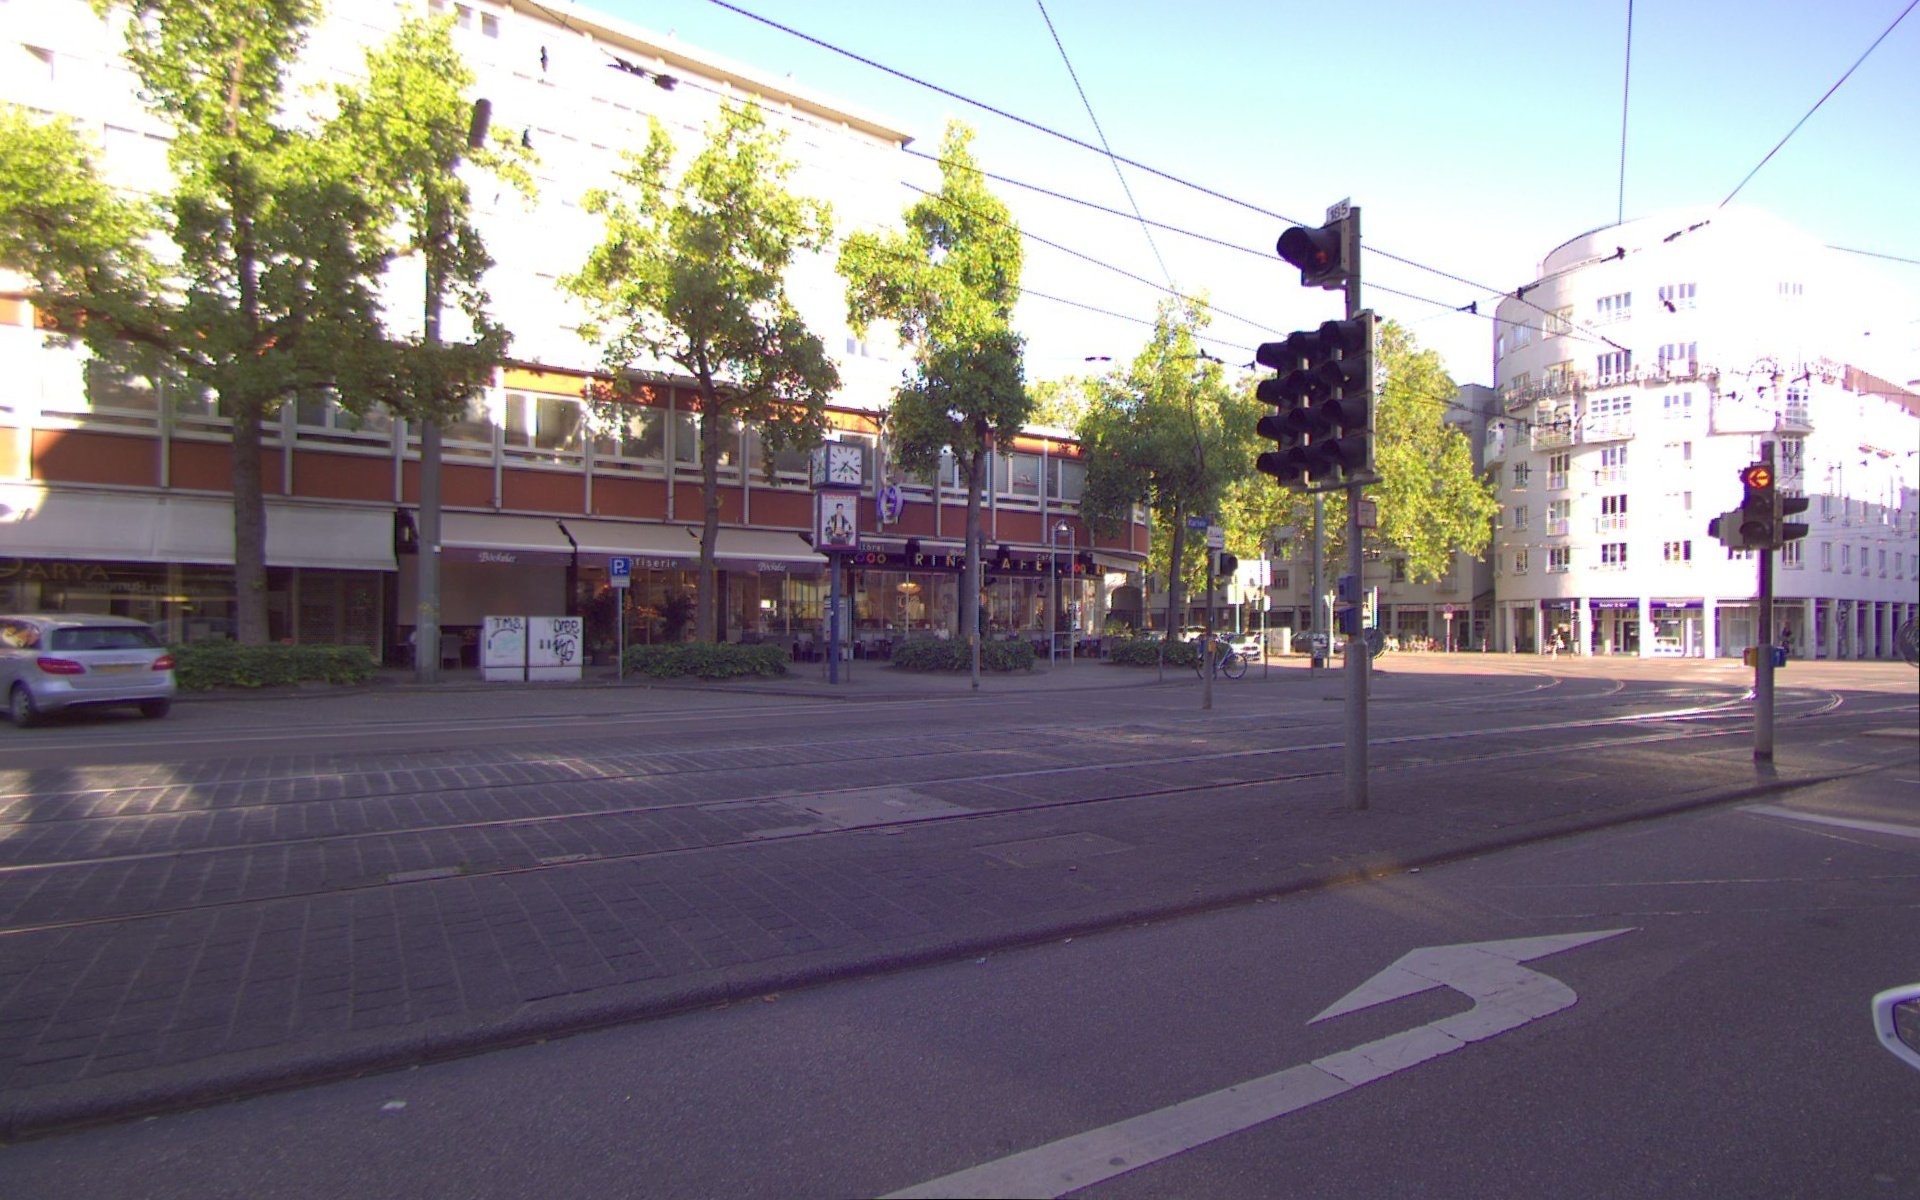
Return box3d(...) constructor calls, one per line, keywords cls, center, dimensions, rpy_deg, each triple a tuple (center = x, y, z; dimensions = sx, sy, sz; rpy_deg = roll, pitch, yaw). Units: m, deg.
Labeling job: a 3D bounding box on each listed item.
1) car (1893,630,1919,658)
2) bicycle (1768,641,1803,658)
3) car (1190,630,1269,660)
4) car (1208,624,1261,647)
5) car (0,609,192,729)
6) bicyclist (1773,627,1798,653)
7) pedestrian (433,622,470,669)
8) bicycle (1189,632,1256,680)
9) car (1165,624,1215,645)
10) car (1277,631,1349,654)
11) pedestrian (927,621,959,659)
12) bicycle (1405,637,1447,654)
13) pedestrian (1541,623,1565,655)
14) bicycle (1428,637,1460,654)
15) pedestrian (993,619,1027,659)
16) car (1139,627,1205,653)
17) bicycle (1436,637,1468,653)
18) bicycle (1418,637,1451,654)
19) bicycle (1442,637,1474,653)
box3d(cls="car", center=(58.032, 2.657, 60.309), dimensions=(4.463, 1.641, 1.982), rpy_deg=(1, -2, -34))
box3d(cls="bicycle", center=(48.374, 2.888, 58.869), dimensions=(2.238, 0.939, 0.837), rpy_deg=(1, -1, -30))
box3d(cls="car", center=(13.566, 2.279, 50.871), dimensions=(1.860, 1.439, 4.442), rpy_deg=(1, -2, -16))
box3d(cls="car", center=(20.691, 2.678, 75.605), dimensions=(3.960, 1.738, 1.783), rpy_deg=(2, -2, -35))
box3d(cls="car", center=(-13.895, 0.967, 15.398), dimensions=(3.925, 1.574, 1.796), rpy_deg=(1, -1, 26))
box3d(cls="bicyclist", center=(48.390, 2.356, 58.882), dimensions=(0.886, 1.486, 0.837), rpy_deg=(1, -1, -29))
box3d(cls="pedestrian", center=(-13.161, 1.168, 25.997), dimensions=(0.721, 1.187, 0.771), rpy_deg=(1, -2, -36))
box3d(cls="bicycle", center=(7.127, 1.504, 27.277), dimensions=(1.833, 1.251, 0.578), rpy_deg=(1, 0, -28))
box3d(cls="car", center=(19.076, 2.878, 83.260), dimensions=(3.960, 1.738, 1.783), rpy_deg=(2, -2, -35))
box3d(cls="car", center=(23.512, 2.821, 67.028), dimensions=(1.868, 1.440, 4.423), rpy_deg=(1, -2, -28))
box3d(cls="pedestrian", center=(-0.593, 1.354, 34.458), dimensions=(0.893, 1.280, 0.837), rpy_deg=(1, -1, -17))
box3d(cls="bicycle", center=(31.863, 3.126, 68.681), dimensions=(2.410, 1.122, 0.932), rpy_deg=(-1, -2, 44))
box3d(cls="pedestrian", center=(32.236, 2.107, 54.628), dimensions=(0.687, 1.704, 0.866), rpy_deg=(-1, -1, -24))
box3d(cls="bicycle", center=(33.875, 3.180, 70.382), dimensions=(0.808, 1.122, 1.934), rpy_deg=(1, -1, -28))
box3d(cls="pedestrian", center=(1.817, 1.406, 36.324), dimensions=(0.880, 1.414, 0.929), rpy_deg=(1, -2, -31))
box3d(cls="car", center=(12.161, 2.295, 57.840), dimensions=(1.860, 1.439, 4.442), rpy_deg=(1, -2, -16))
box3d(cls="bicycle", center=(34.835, 3.198, 71.142), dimensions=(0.809, 1.122, 1.933), rpy_deg=(1, -1, -30))
box3d(cls="bicycle", center=(33.017, 3.167, 69.913), dimensions=(0.808, 1.122, 1.934), rpy_deg=(1, -1, -28))
box3d(cls="bicycle", center=(35.514, 3.211, 71.675), dimensions=(0.809, 1.122, 1.933), rpy_deg=(1, -1, -30))
